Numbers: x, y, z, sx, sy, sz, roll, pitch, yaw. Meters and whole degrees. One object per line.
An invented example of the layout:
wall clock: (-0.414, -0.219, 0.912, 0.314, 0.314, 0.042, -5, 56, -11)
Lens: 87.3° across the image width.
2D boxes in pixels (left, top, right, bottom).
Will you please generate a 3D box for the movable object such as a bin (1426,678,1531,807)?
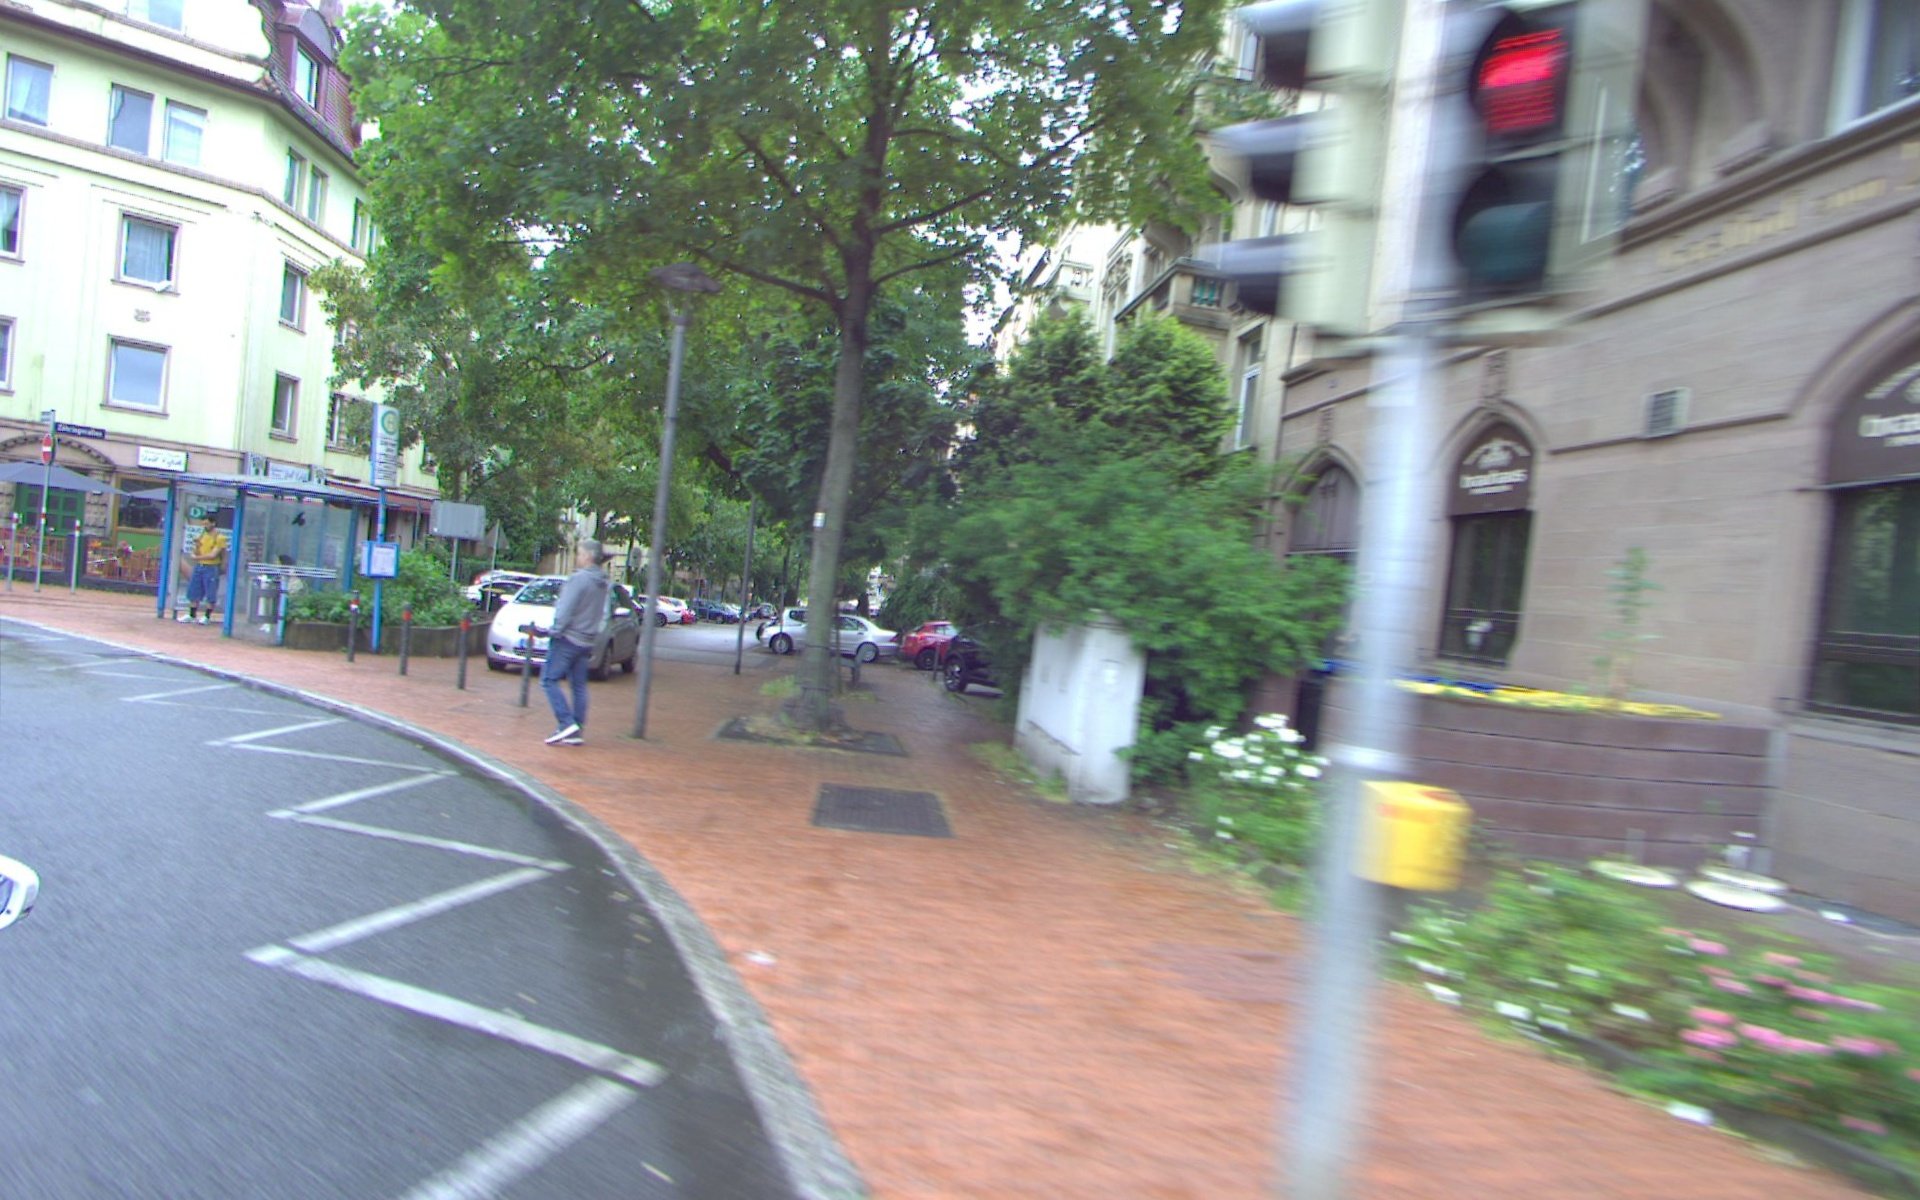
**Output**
movable object such as a bin: (4.770, 1.301, 9.281, 0.523, 1.069, 0.593, 7, -1, -10)

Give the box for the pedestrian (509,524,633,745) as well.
pedestrian: (-3.296, 0.298, 8.518, 0.724, 1.754, 0.569, 7, -1, -30)

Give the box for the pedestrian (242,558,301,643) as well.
pedestrian: (-11.219, 0.003, 16.386, 0.611, 1.295, 0.568, 6, -1, 45)

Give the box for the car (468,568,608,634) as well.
car: (-14.452, 0.071, 34.647, 3.931, 1.748, 1.791, 7, -1, -8)

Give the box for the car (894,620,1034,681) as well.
car: (0.065, 1.498, 30.236, 3.928, 1.547, 1.875, 4, -1, -8)

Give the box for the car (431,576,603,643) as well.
car: (-14.080, 0.328, 32.208, 4.567, 1.546, 1.791, 7, -1, -8)

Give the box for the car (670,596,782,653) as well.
car: (-8.781, 0.928, 38.003, 3.717, 1.686, 1.679, 7, -1, -4)

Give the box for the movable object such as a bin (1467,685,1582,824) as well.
movable object such as a bin: (4.837, 1.310, 8.638, 0.528, 1.069, 0.574, 7, -1, -10)

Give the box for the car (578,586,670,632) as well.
car: (-16.509, 0.471, 49.563, 3.830, 1.768, 1.791, 7, -1, -7)

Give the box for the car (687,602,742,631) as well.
car: (-19.069, 1.289, 78.323, 3.830, 1.768, 1.791, 7, -1, -7)

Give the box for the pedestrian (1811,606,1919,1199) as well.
pedestrian: (2.535, 0.890, 2.018, 0.877, 1.698, 0.831, 6, -1, 12)

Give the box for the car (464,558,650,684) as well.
car: (-6.158, 0.366, 15.822, 1.741, 1.519, 3.673, 8, -3, -8)

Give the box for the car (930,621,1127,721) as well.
car: (1.269, 1.367, 19.984, 1.756, 1.493, 3.814, 8, -2, -36)

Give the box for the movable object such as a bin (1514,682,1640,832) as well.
movable object such as a bin: (4.915, 1.236, 8.040, 0.533, 1.077, 0.558, 7, -1, -10)

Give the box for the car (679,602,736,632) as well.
car: (-18.919, 1.293, 75.500, 3.830, 1.768, 1.791, 7, -1, -7)

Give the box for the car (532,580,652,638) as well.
car: (-14.358, 0.381, 39.430, 3.931, 1.748, 1.791, 7, -1, -8)

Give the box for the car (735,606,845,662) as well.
car: (-5.695, 1.144, 33.999, 3.440, 1.482, 1.589, 7, -1, -7)

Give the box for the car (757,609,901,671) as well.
car: (-4.109, 1.245, 31.785, 4.259, 1.412, 1.707, 7, -1, -8)

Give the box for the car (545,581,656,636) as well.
car: (-14.966, 0.369, 42.068, 3.931, 1.810, 1.791, 7, -1, -8)

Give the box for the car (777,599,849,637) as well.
car: (-7.812, 0.951, 53.550, 3.588, 1.554, 1.680, 7, -1, -7)

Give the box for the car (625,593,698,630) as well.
car: (-17.943, 0.706, 60.617, 3.830, 1.768, 1.791, 7, -1, -7)

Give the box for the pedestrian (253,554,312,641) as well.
pedestrian: (-10.715, -0.043, 15.907, 0.527, 1.295, 0.568, 6, -1, 44)

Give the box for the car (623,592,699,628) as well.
car: (-17.261, 0.609, 58.205, 3.830, 1.607, 1.731, 7, -1, -8)

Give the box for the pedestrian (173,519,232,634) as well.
pedestrian: (-12.470, -0.382, 16.575, 0.554, 1.796, 0.541, 7, -1, -30)
